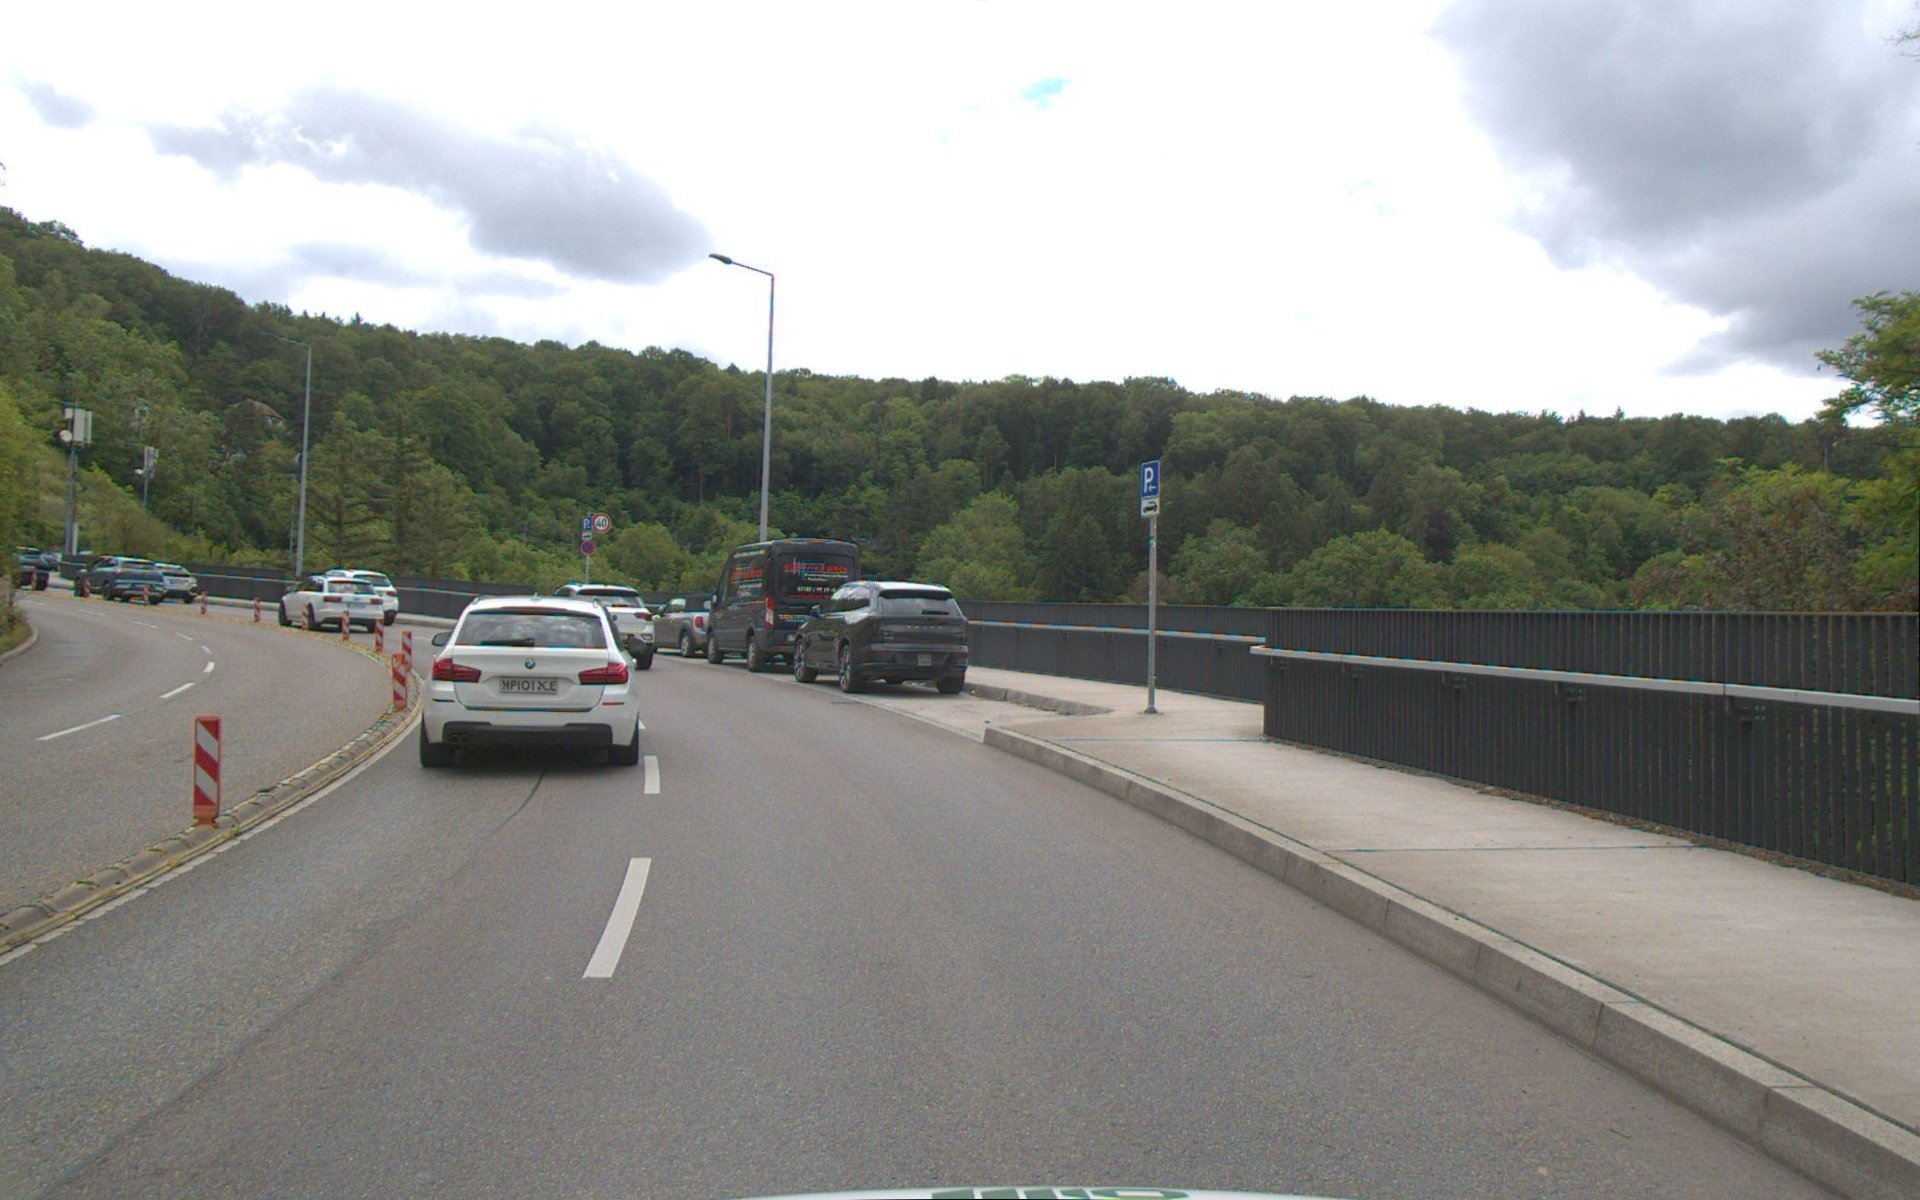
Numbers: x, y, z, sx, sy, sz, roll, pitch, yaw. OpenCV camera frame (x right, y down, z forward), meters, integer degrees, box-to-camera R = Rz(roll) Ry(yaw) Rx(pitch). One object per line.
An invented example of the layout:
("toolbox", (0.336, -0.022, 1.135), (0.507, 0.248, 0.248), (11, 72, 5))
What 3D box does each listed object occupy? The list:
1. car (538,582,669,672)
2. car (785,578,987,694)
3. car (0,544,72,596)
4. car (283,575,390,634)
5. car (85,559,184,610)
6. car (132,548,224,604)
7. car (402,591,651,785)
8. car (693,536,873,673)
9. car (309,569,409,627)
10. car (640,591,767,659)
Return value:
("car", (-7.049, 0.516, 32.438), (1.803, 1.634, 3.971), (0, -1, -23))
("car", (-1.357, 0.564, 27.622), (1.964, 1.748, 5.019), (0, 0, -20))
("car", (-37.290, -1.181, 66.543), (1.859, 1.793, 3.938), (4, -4, -42))
("car", (-17.266, 0.090, 45.689), (1.974, 1.529, 4.618), (0, 1, -31))
("car", (-29.015, -0.543, 58.118), (1.986, 1.677, 3.933), (-1, -1, -45))
("car", (-29.931, -0.882, 63.280), (1.985, 2.049, 3.935), (1, -1, -44))
("car", (-3.896, 0.692, 15.552), (1.794, 1.485, 4.477), (-1, 1, -9))
("car", (-3.761, 0.032, 33.958), (2.137, 2.565, 5.730), (-1, 1, -23))
("car", (-19.026, -0.048, 52.276), (1.977, 1.748, 4.062), (-1, -1, -35))
("car", (-6.113, 0.570, 39.111), (1.696, 1.456, 3.811), (2, 0, -30))
